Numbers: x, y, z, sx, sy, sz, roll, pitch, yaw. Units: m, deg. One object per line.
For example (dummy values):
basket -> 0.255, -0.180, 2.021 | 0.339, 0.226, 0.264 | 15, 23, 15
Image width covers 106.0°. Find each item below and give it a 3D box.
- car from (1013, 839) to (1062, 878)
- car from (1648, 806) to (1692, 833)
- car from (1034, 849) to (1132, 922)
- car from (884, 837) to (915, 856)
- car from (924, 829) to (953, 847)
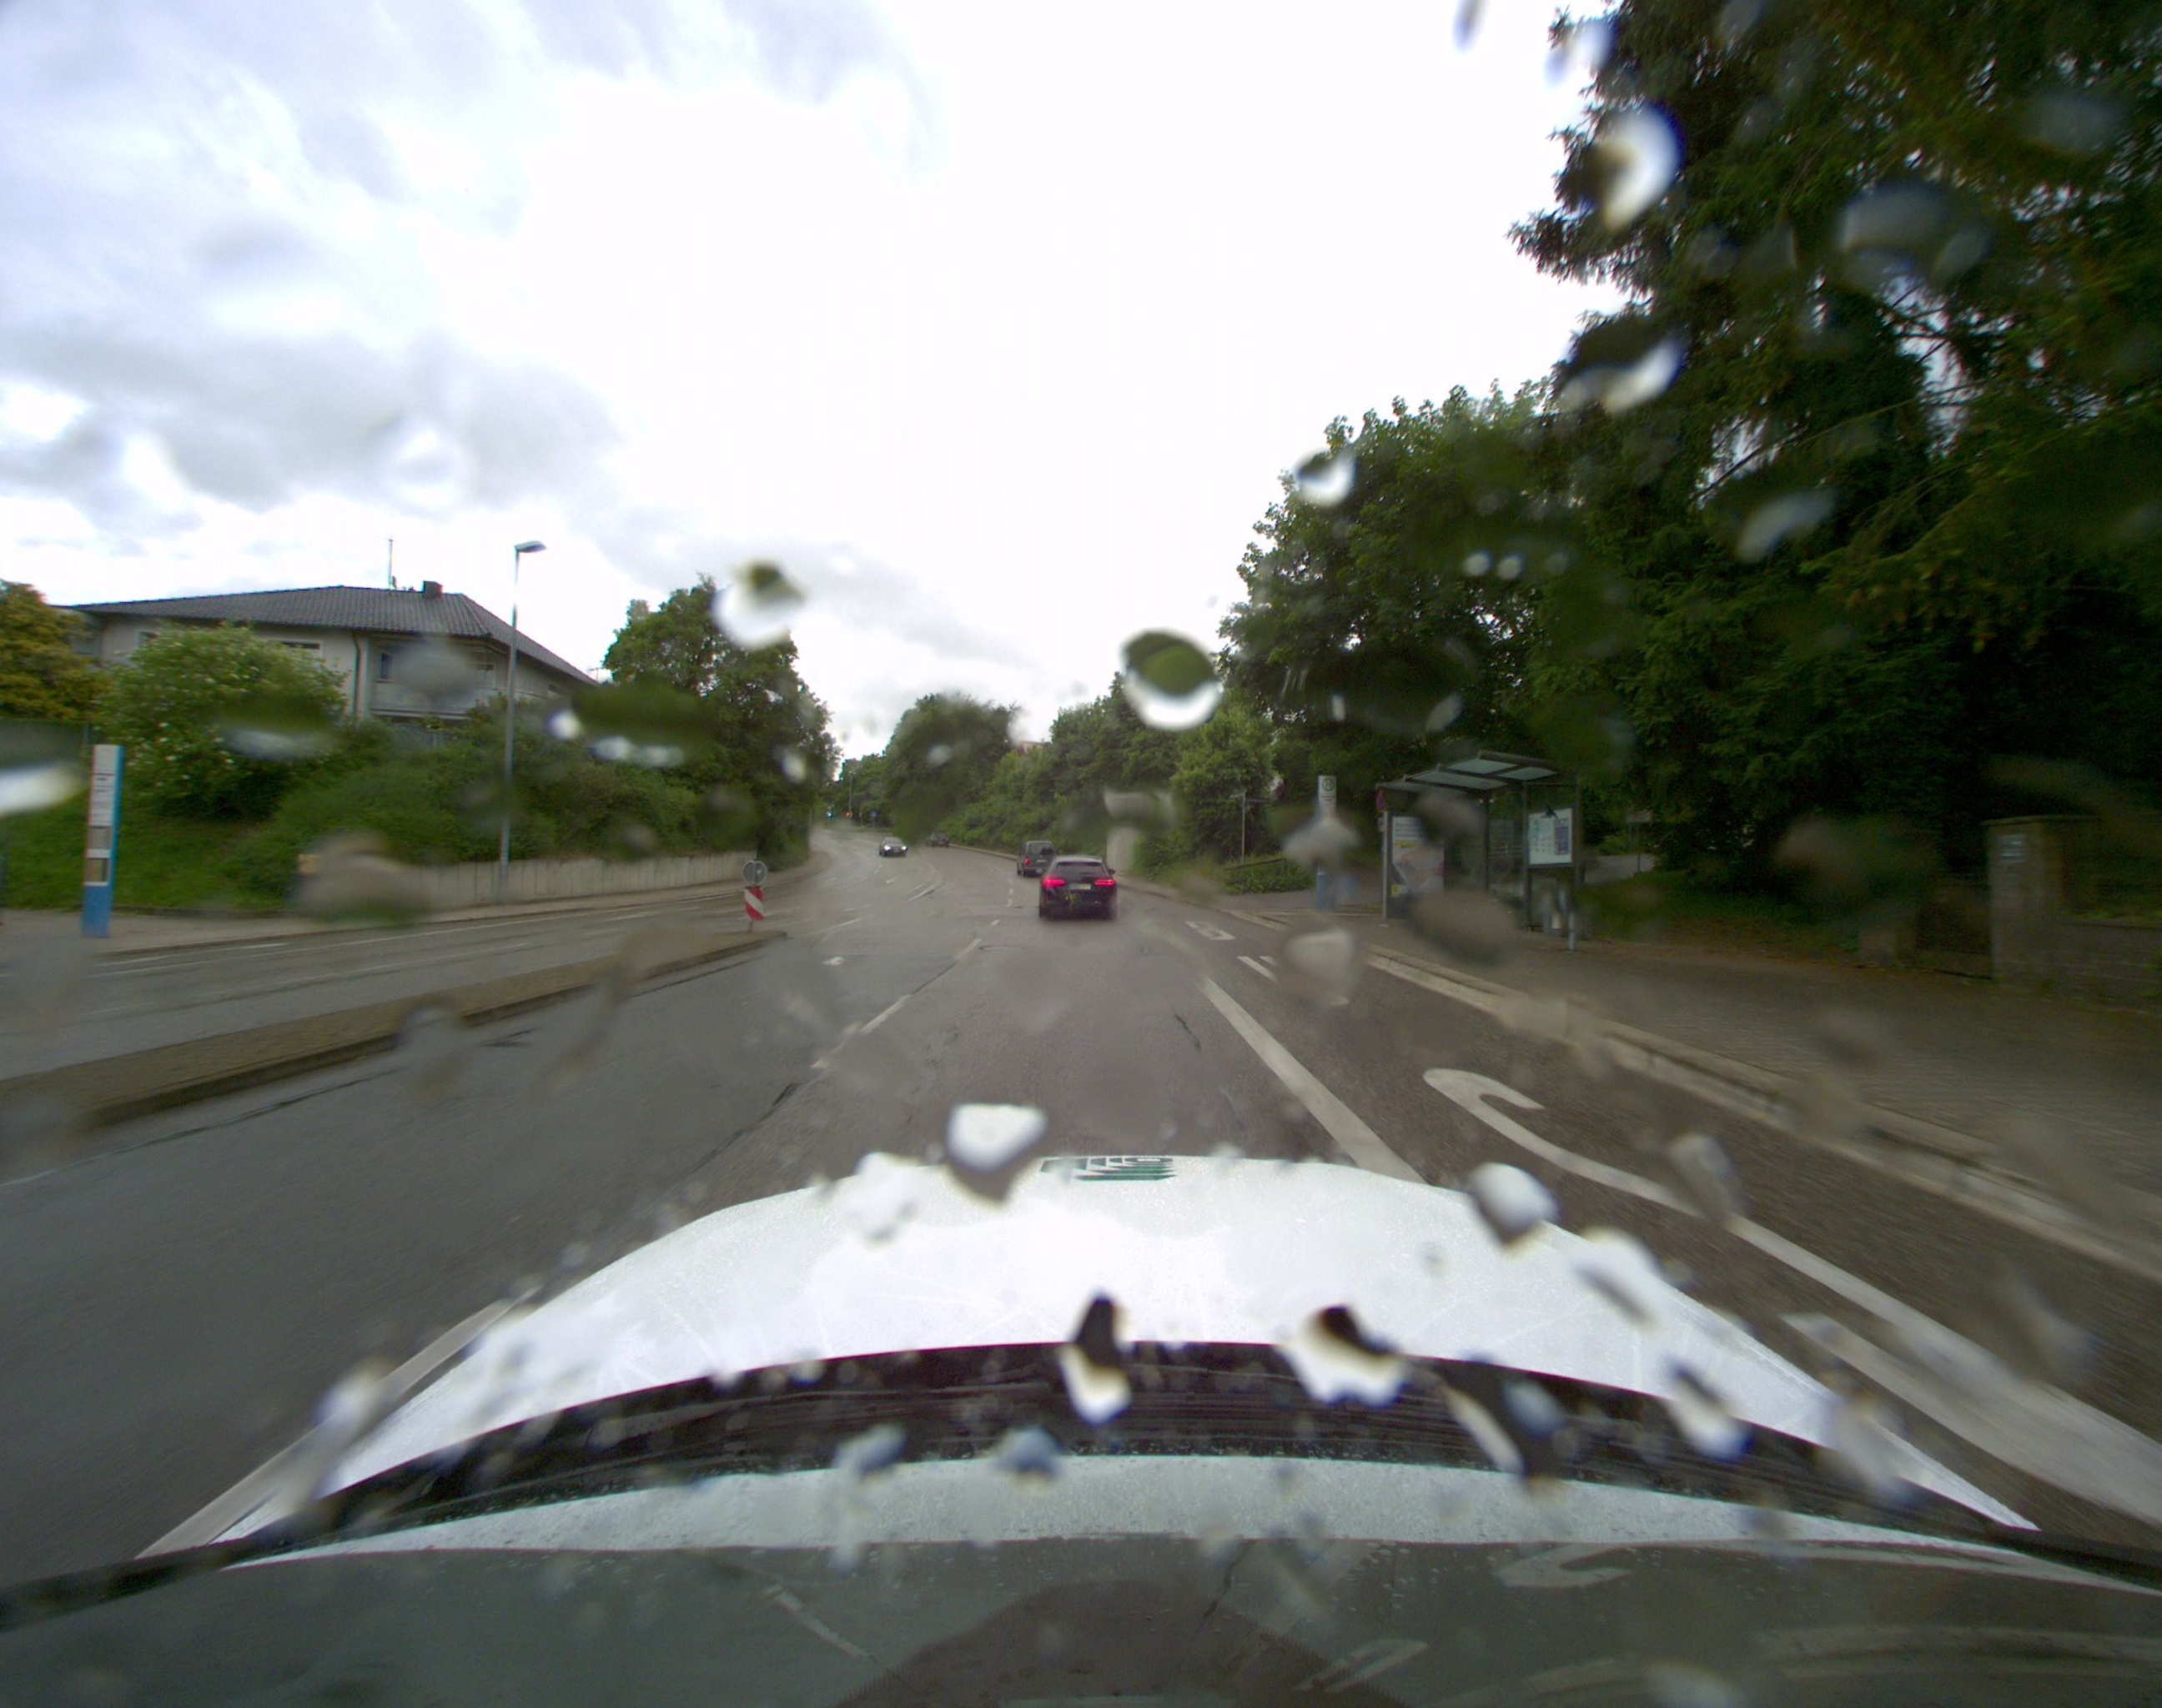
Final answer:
car -> -2.316, 0.178, 42.374 | 1.995, 1.748, 3.985 | 0, 3, -12
car -> 44.174, -2.555, 61.040 | 4.022, 1.596, 1.975 | 3, -4, -45
car -> -0.082, 0.700, 20.700 | 1.991, 1.586, 4.653 | 1, 1, -6
car -> -14.595, -0.588, 65.428 | 1.898, 1.487, 4.206 | -1, 0, -20
car -> -14.398, -1.568, 82.218 | 1.860, 1.662, 3.967 | 1, -1, -25
